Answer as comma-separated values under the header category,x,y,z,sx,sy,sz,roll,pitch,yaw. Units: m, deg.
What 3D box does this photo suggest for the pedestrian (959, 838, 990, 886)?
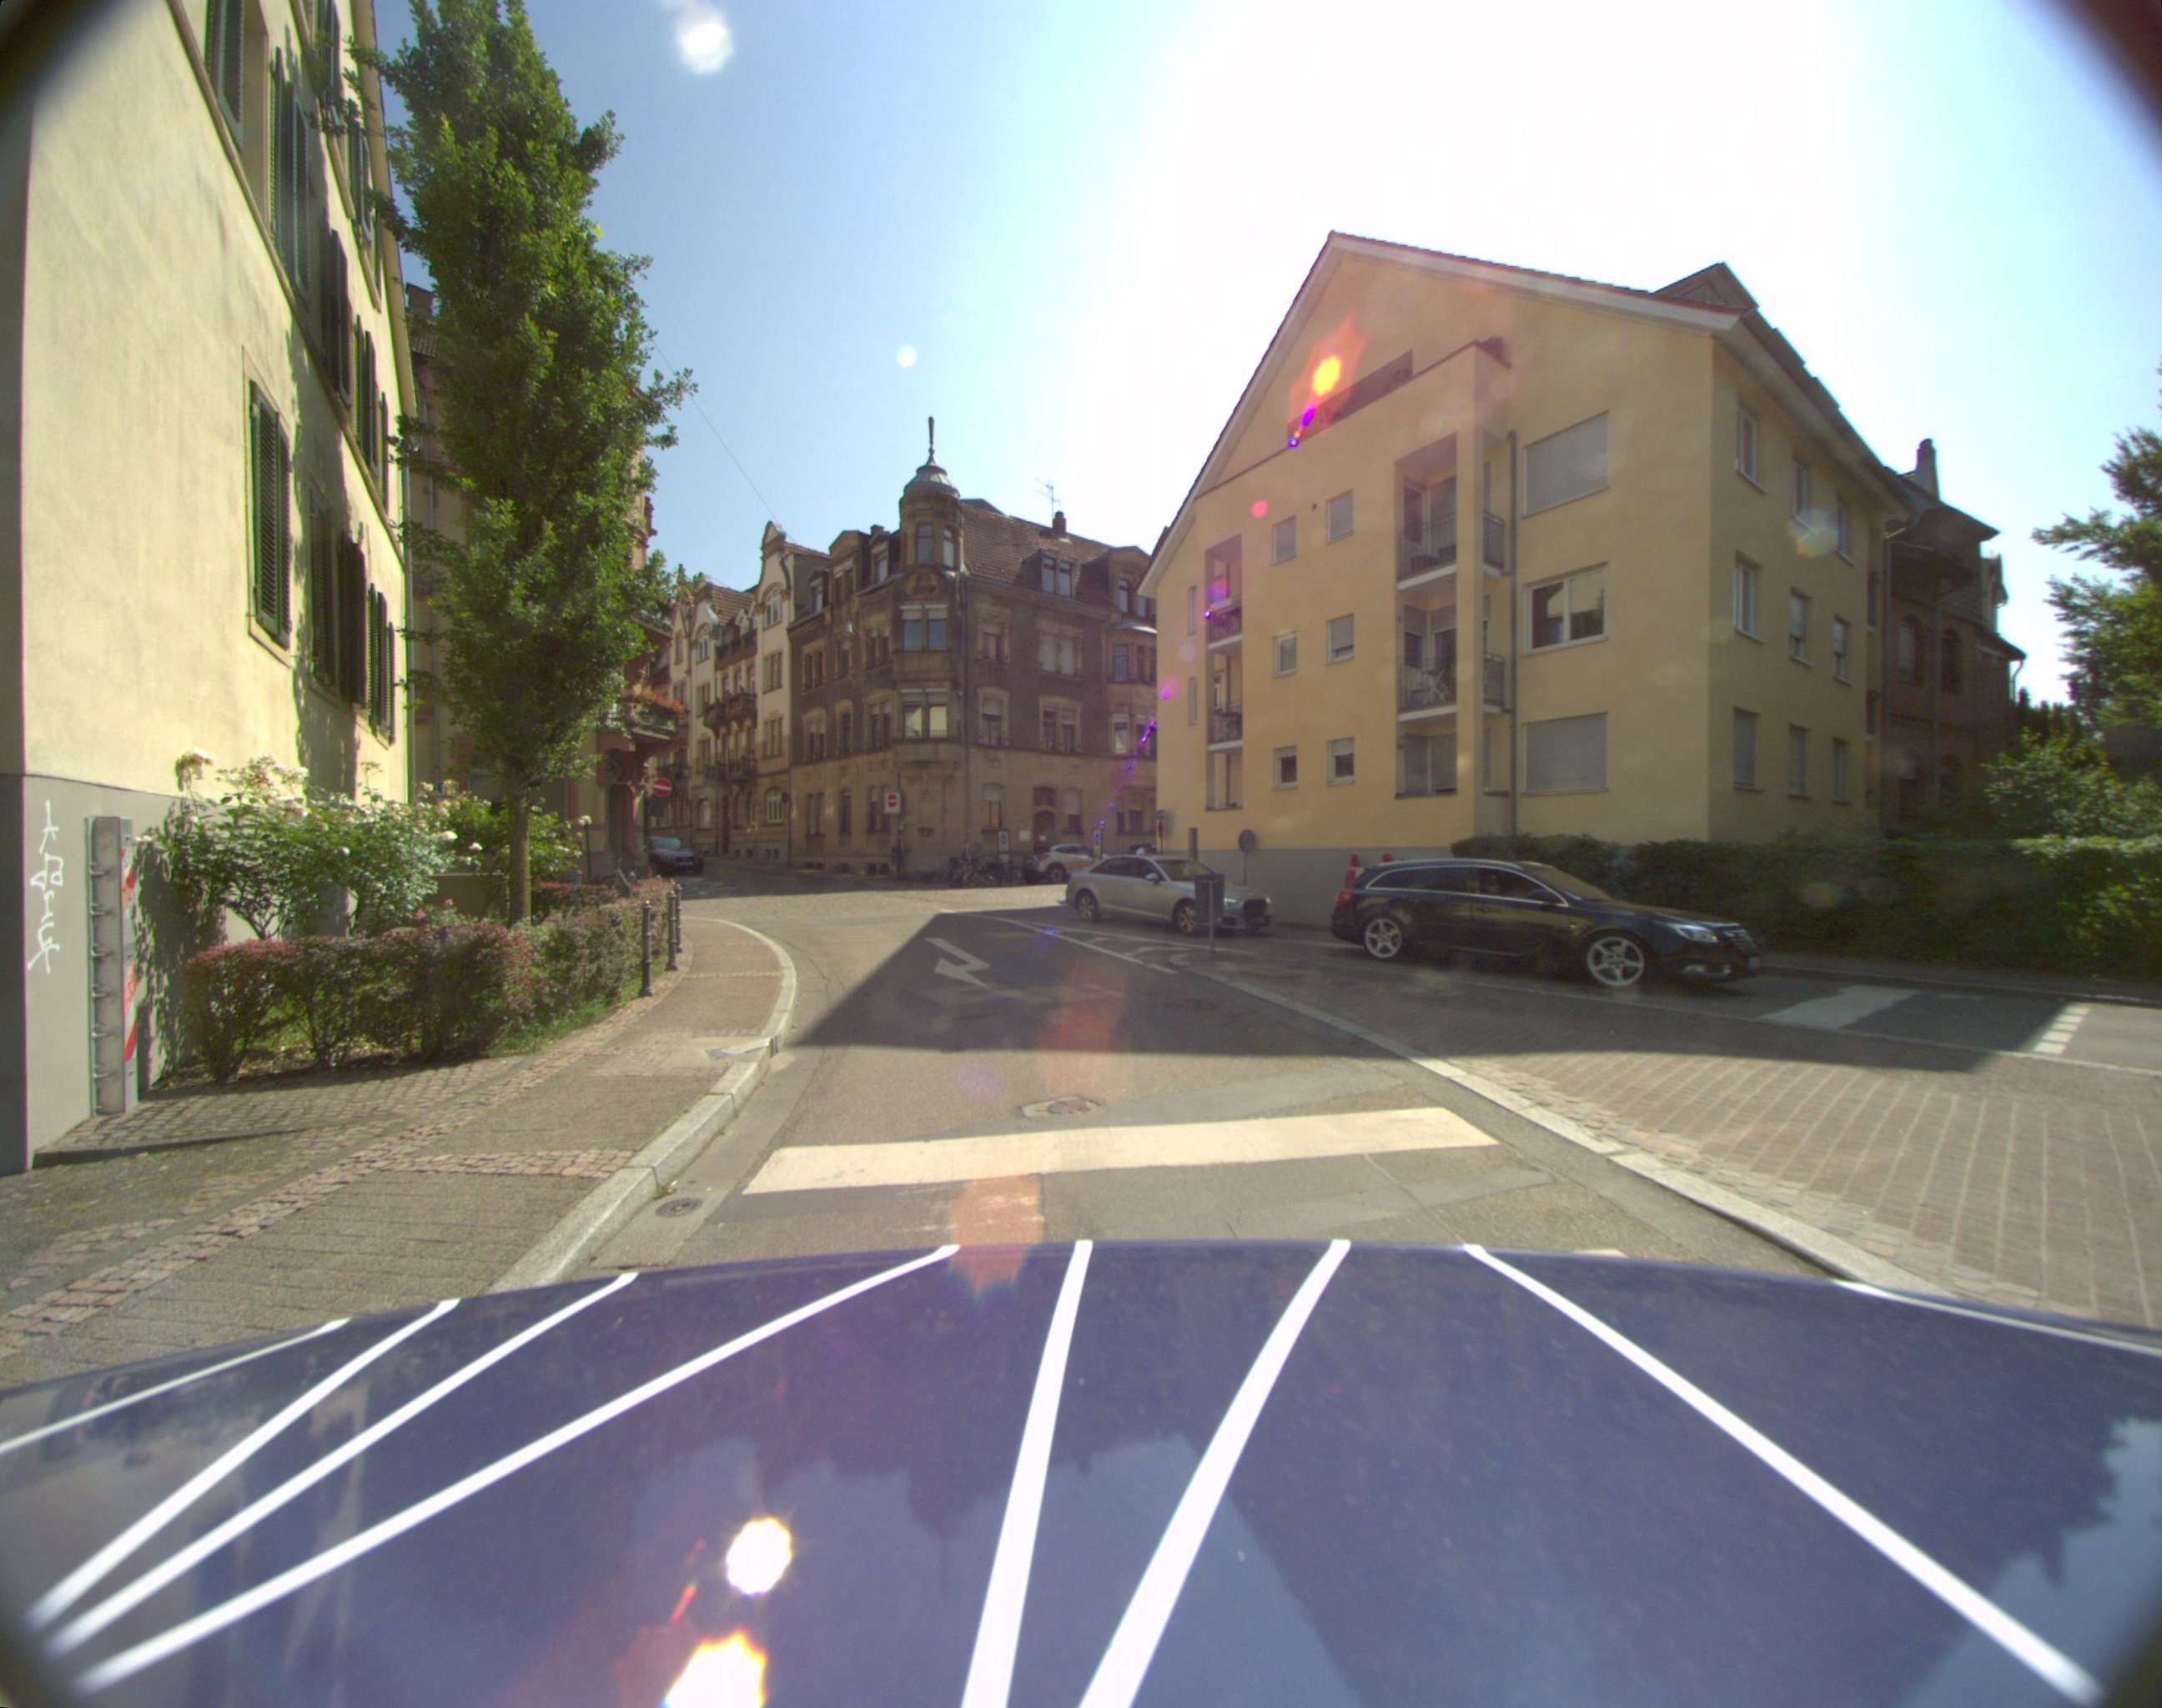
category,x,y,z,sx,sy,sz,roll,pitch,yaw
pedestrian,-4.073,0.290,29.134,0.982,1.749,0.621,-2,5,-37

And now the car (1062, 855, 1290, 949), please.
category,x,y,z,sx,sy,sz,roll,pitch,yaw
car,1.693,0.798,14.873,1.881,1.484,4.370,-1,1,-38

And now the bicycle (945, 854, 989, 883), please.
category,x,y,z,sx,sy,sz,roll,pitch,yaw
bicycle,-4.477,0.567,29.877,1.645,1.080,0.494,0,5,-36

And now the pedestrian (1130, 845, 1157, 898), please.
category,x,y,z,sx,sy,sz,roll,pitch,yaw
pedestrian,1.927,0.527,23.488,0.658,1.609,0.492,-1,2,-24

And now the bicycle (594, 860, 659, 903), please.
category,x,y,z,sx,sy,sz,roll,pitch,yaw
bicycle,-12.683,0.761,21.212,1.789,1.140,0.506,1,1,18

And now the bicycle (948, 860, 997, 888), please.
category,x,y,z,sx,sy,sz,roll,pitch,yaw
bicycle,-3.998,0.724,27.857,1.637,1.084,0.285,1,46,43

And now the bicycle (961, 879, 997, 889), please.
category,x,y,z,sx,sy,sz,roll,pitch,yaw
bicycle,-3.716,1.095,27.586,1.080,0.286,1.121,0,1,-22

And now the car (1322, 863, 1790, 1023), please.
category,x,y,z,sx,sy,sz,roll,pitch,yaw
car,5.625,0.896,9.657,1.723,1.453,4.711,2,-1,-38

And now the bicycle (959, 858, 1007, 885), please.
category,x,y,z,sx,sy,sz,roll,pitch,yaw
bicycle,-3.646,0.651,28.208,1.637,1.084,0.285,1,46,43

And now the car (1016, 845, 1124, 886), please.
category,x,y,z,sx,sy,sz,roll,pitch,yaw
car,-0.403,0.401,29.905,3.936,1.535,1.847,-1,1,-37

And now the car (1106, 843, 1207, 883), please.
category,x,y,z,sx,sy,sz,roll,pitch,yaw
car,3.256,0.344,32.518,4.007,1.535,1.848,-2,1,-35

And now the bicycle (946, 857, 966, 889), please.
category,x,y,z,sx,sy,sz,roll,pitch,yaw
bicycle,-4.530,0.677,27.488,0.286,1.080,1.639,-4,2,-22

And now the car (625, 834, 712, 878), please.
category,x,y,z,sx,sy,sz,roll,pitch,yaw
car,-17.121,0.009,31.460,4.246,1.574,1.866,3,4,43

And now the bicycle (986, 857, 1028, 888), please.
category,x,y,z,sx,sy,sz,roll,pitch,yaw
bicycle,-2.738,0.686,28.013,1.638,1.079,0.286,-2,-2,26

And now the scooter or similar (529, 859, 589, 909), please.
category,x,y,z,sx,sy,sz,roll,pitch,yaw
scooter or similar,-13.529,0.755,19.703,0.441,1.228,1.193,1,1,40

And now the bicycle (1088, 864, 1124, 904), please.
category,x,y,z,sx,sy,sz,roll,pitch,yaw
bicycle,0.719,0.859,22.458,0.392,1.073,1.906,0,1,-19
